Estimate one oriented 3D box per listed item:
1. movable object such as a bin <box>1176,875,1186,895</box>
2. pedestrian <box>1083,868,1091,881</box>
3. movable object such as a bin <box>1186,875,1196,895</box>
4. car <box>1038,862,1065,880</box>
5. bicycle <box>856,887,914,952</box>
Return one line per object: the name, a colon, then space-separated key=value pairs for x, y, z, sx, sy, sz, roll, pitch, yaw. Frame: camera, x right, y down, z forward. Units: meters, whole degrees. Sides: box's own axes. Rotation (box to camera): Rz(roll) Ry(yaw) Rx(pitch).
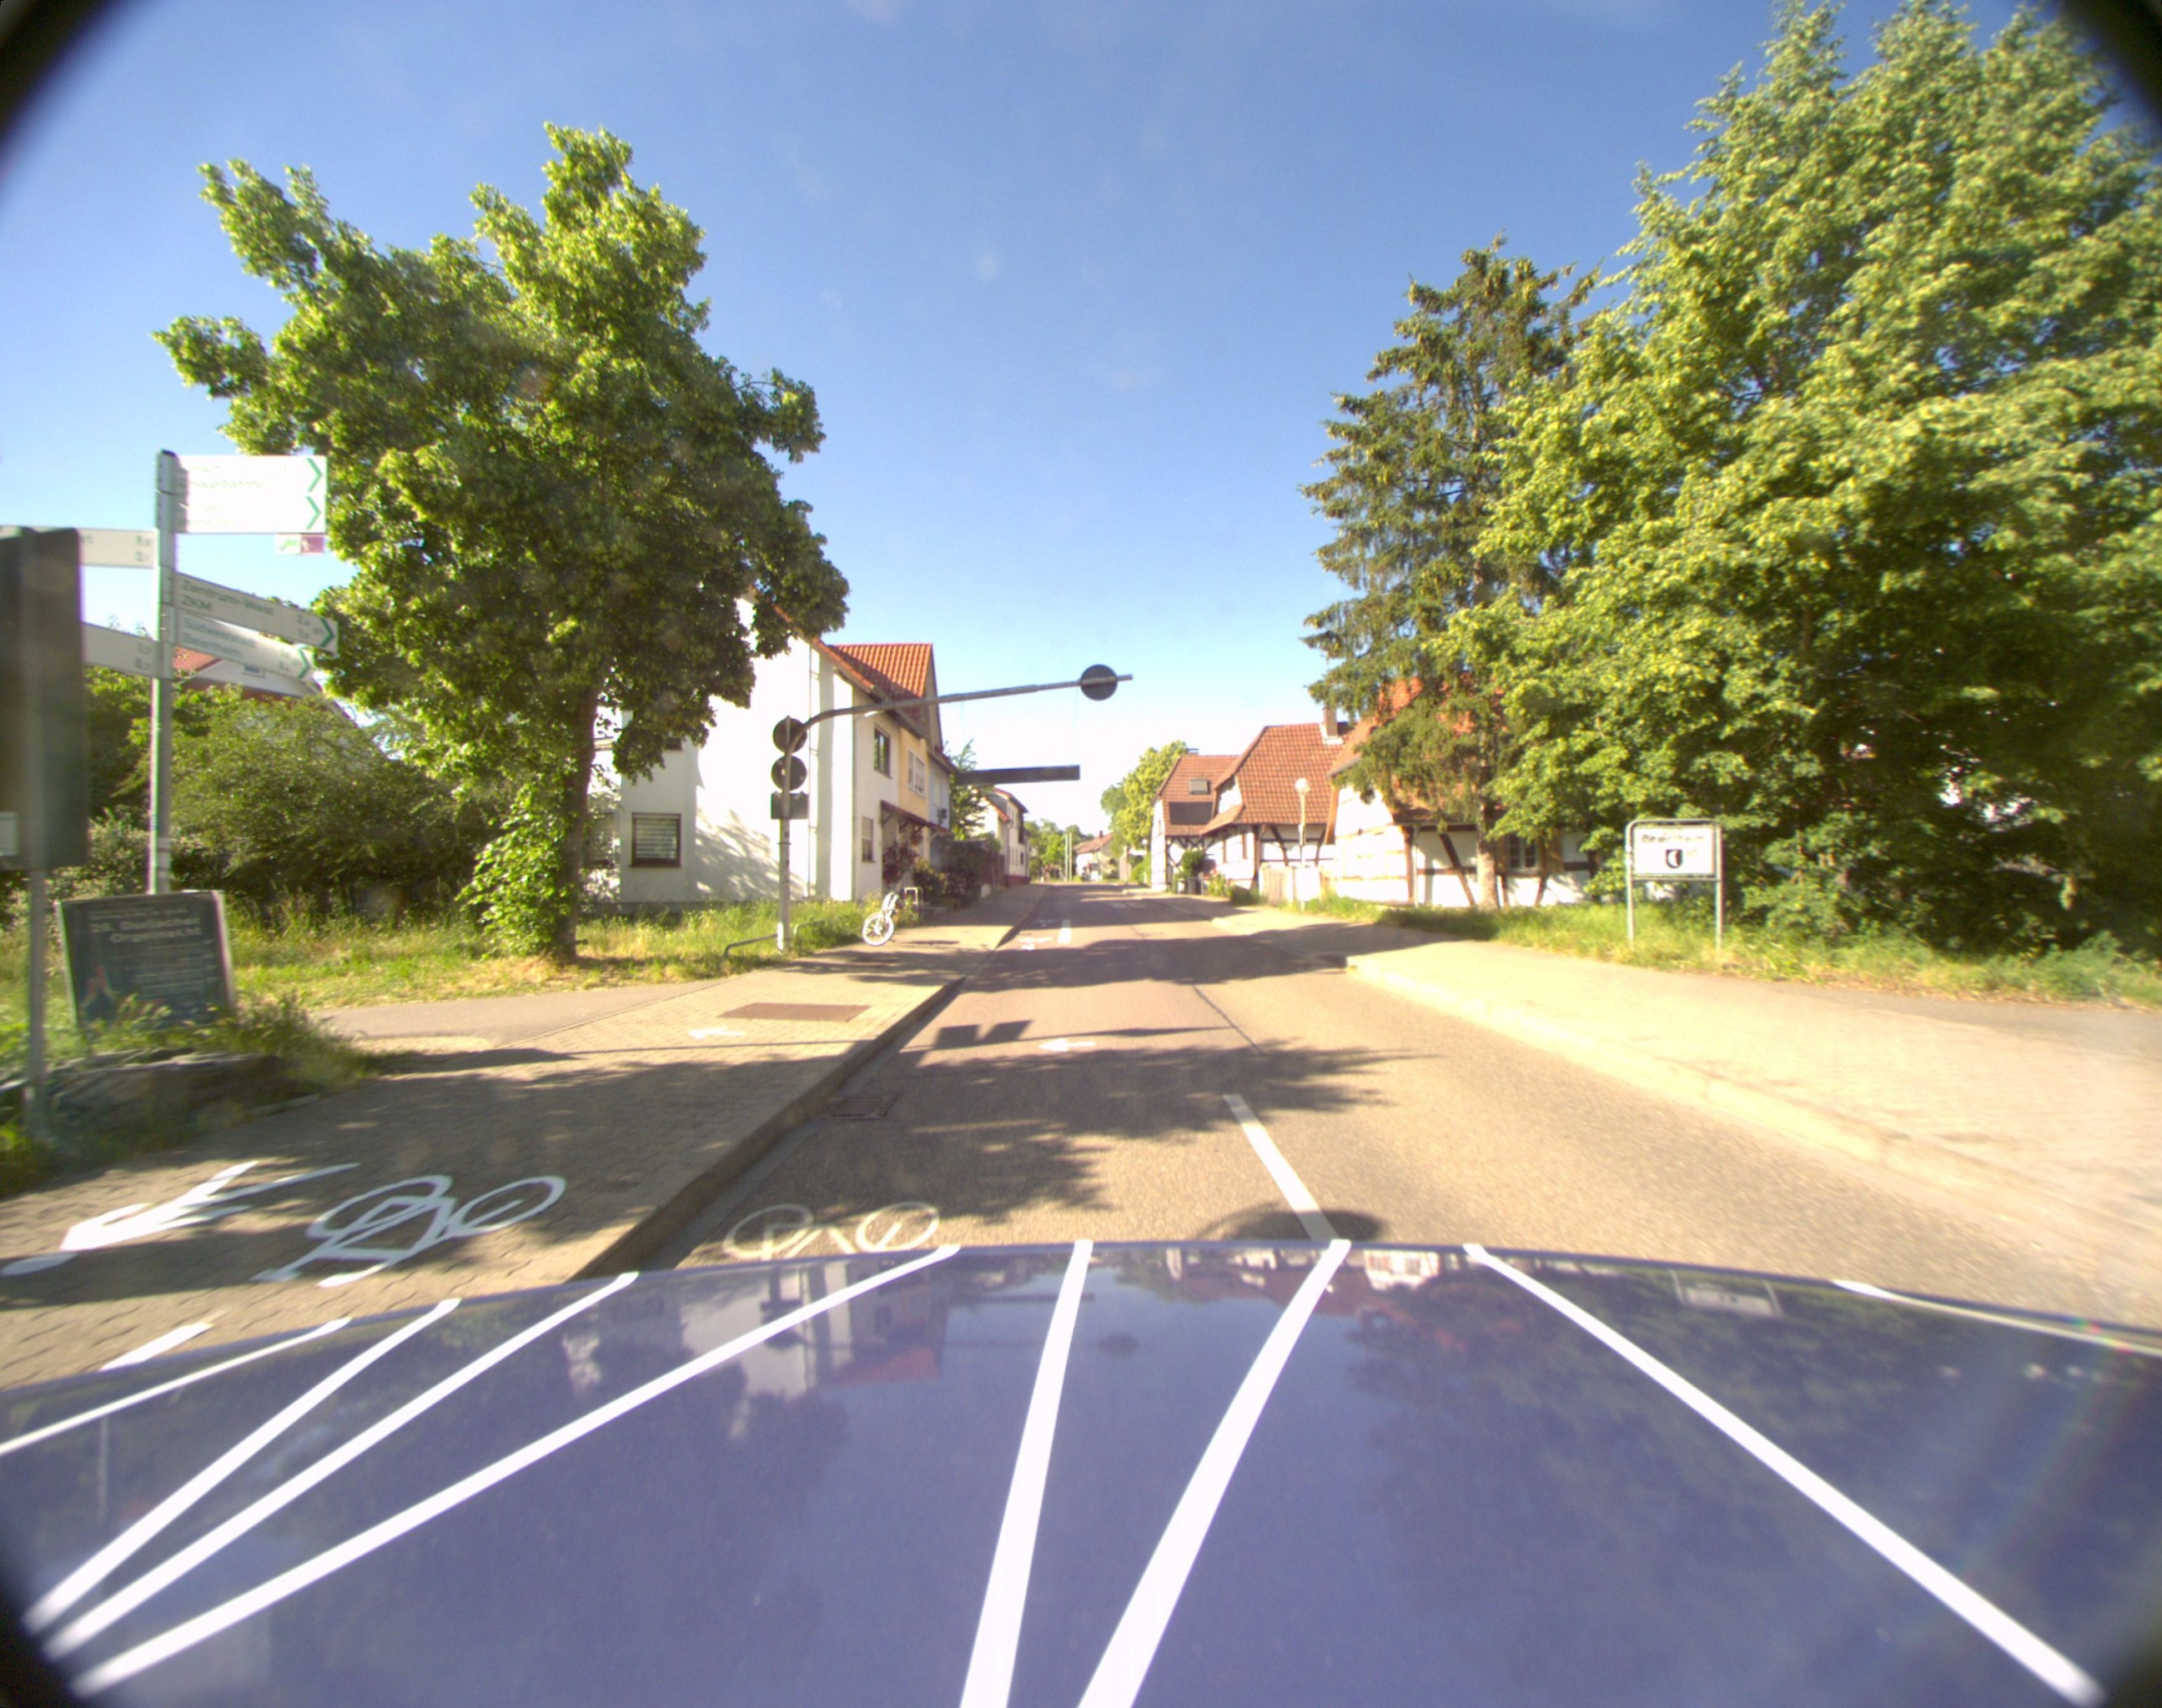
movable object such as a bin: x=5.792 y=1.783 z=43.904 sx=0.477 sy=1.133 sz=0.667 roll=-1 pitch=0 yaw=-1
pedestrian: x=0.848 y=2.811 z=104.579 sx=0.716 sy=1.792 sz=0.772 roll=-2 pitch=1 yaw=28
movable object such as a bin: x=6.369 y=1.778 z=43.918 sx=0.477 sy=1.133 sz=0.667 roll=-1 pitch=0 yaw=-1
car: x=-3.390 y=1.963 z=86.688 sx=1.968 sy=1.907 sz=4.572 roll=-1 pitch=-1 yaw=-16
bicycle: x=-3.857 y=1.273 z=15.086 sx=0.690 sy=1.150 sz=1.539 roll=4 pitch=-1 yaw=-1
